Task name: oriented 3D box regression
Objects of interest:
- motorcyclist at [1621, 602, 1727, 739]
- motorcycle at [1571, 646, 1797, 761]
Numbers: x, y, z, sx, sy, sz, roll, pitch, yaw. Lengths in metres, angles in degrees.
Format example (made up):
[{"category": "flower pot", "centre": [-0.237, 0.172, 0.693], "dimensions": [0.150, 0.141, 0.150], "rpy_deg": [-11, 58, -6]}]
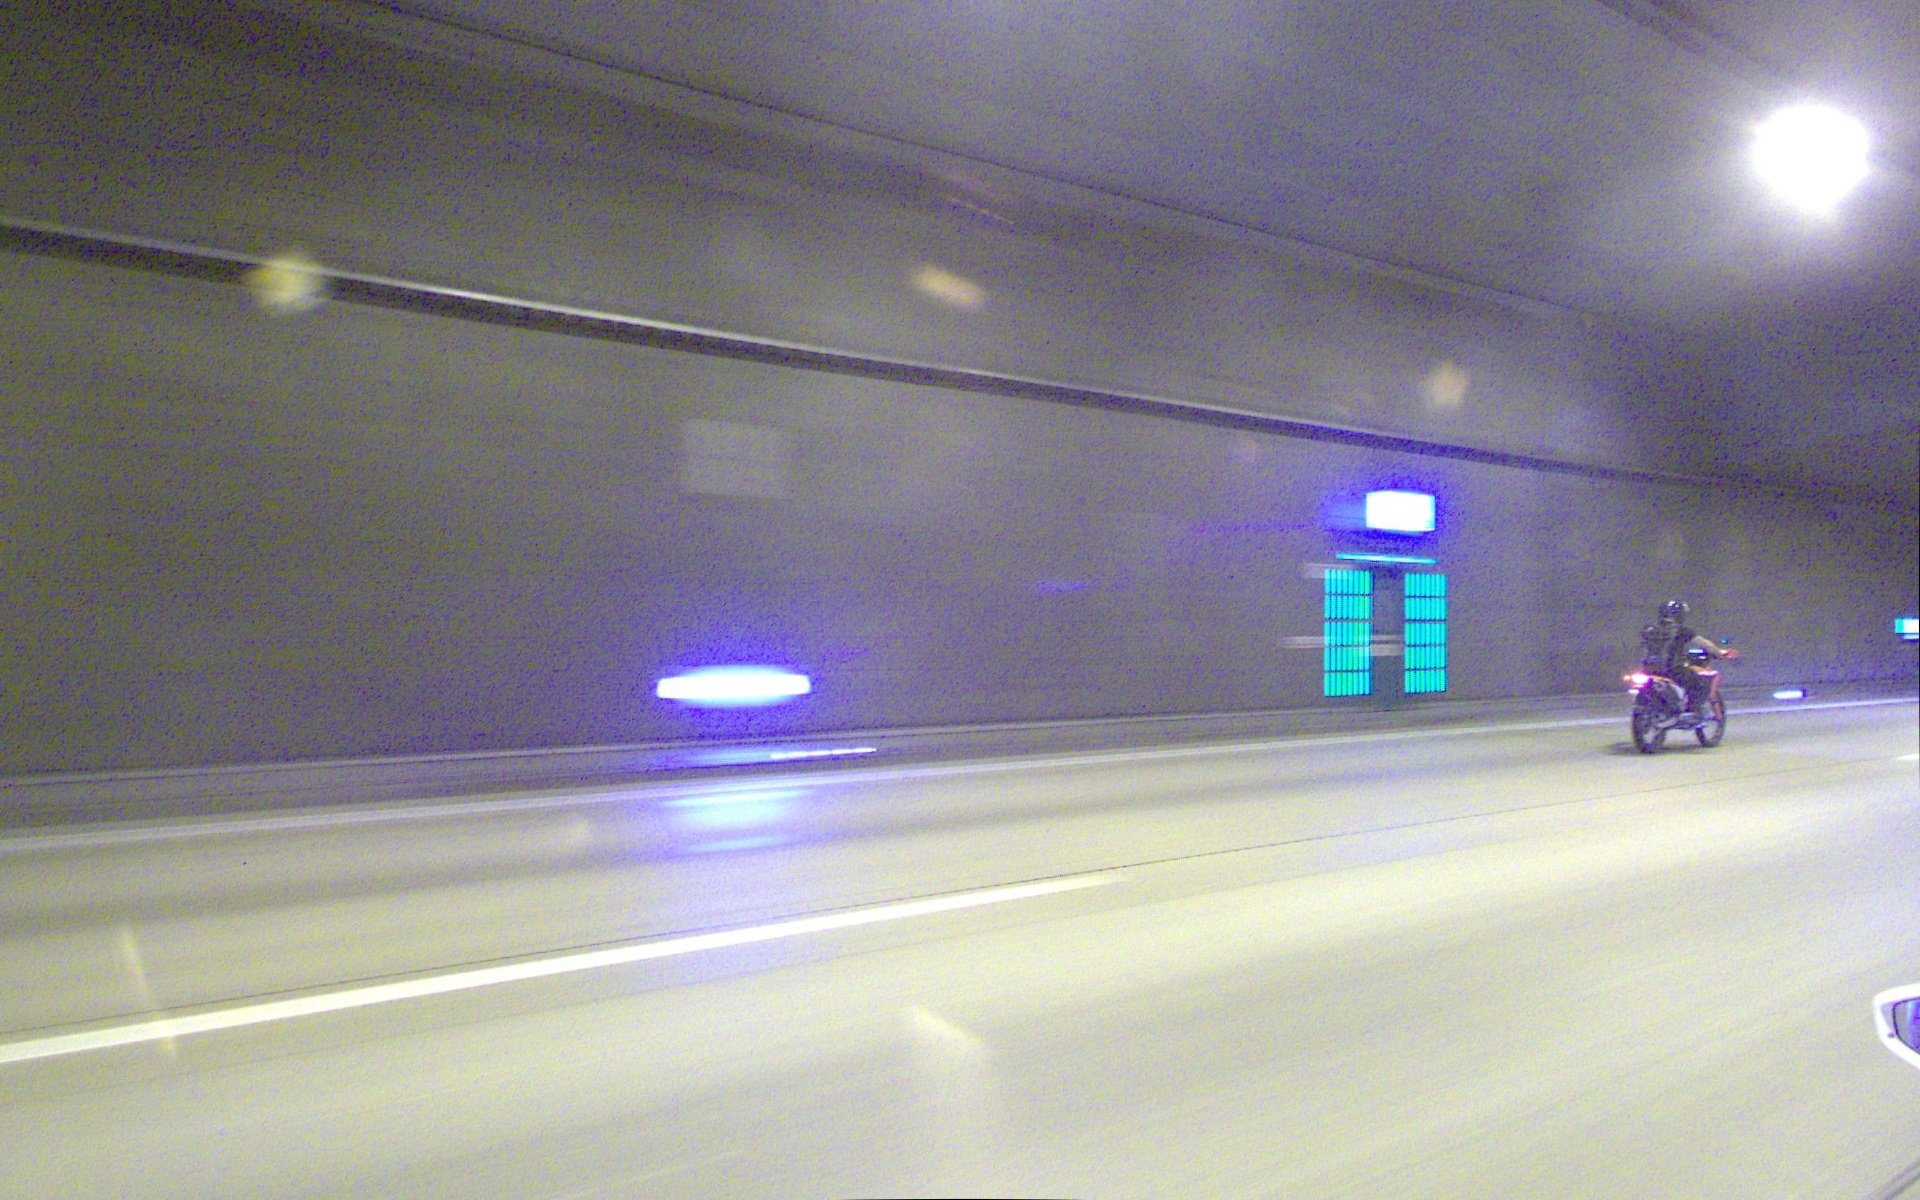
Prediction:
[{"category": "motorcyclist", "centre": [8.177, 0.791, 11.514], "dimensions": [0.878, 1.509, 0.625], "rpy_deg": [1, -1, -23]}, {"category": "motorcycle", "centre": [8.335, 1.133, 11.565], "dimensions": [2.394, 1.173, 1.050], "rpy_deg": [1, -1, -24]}]
